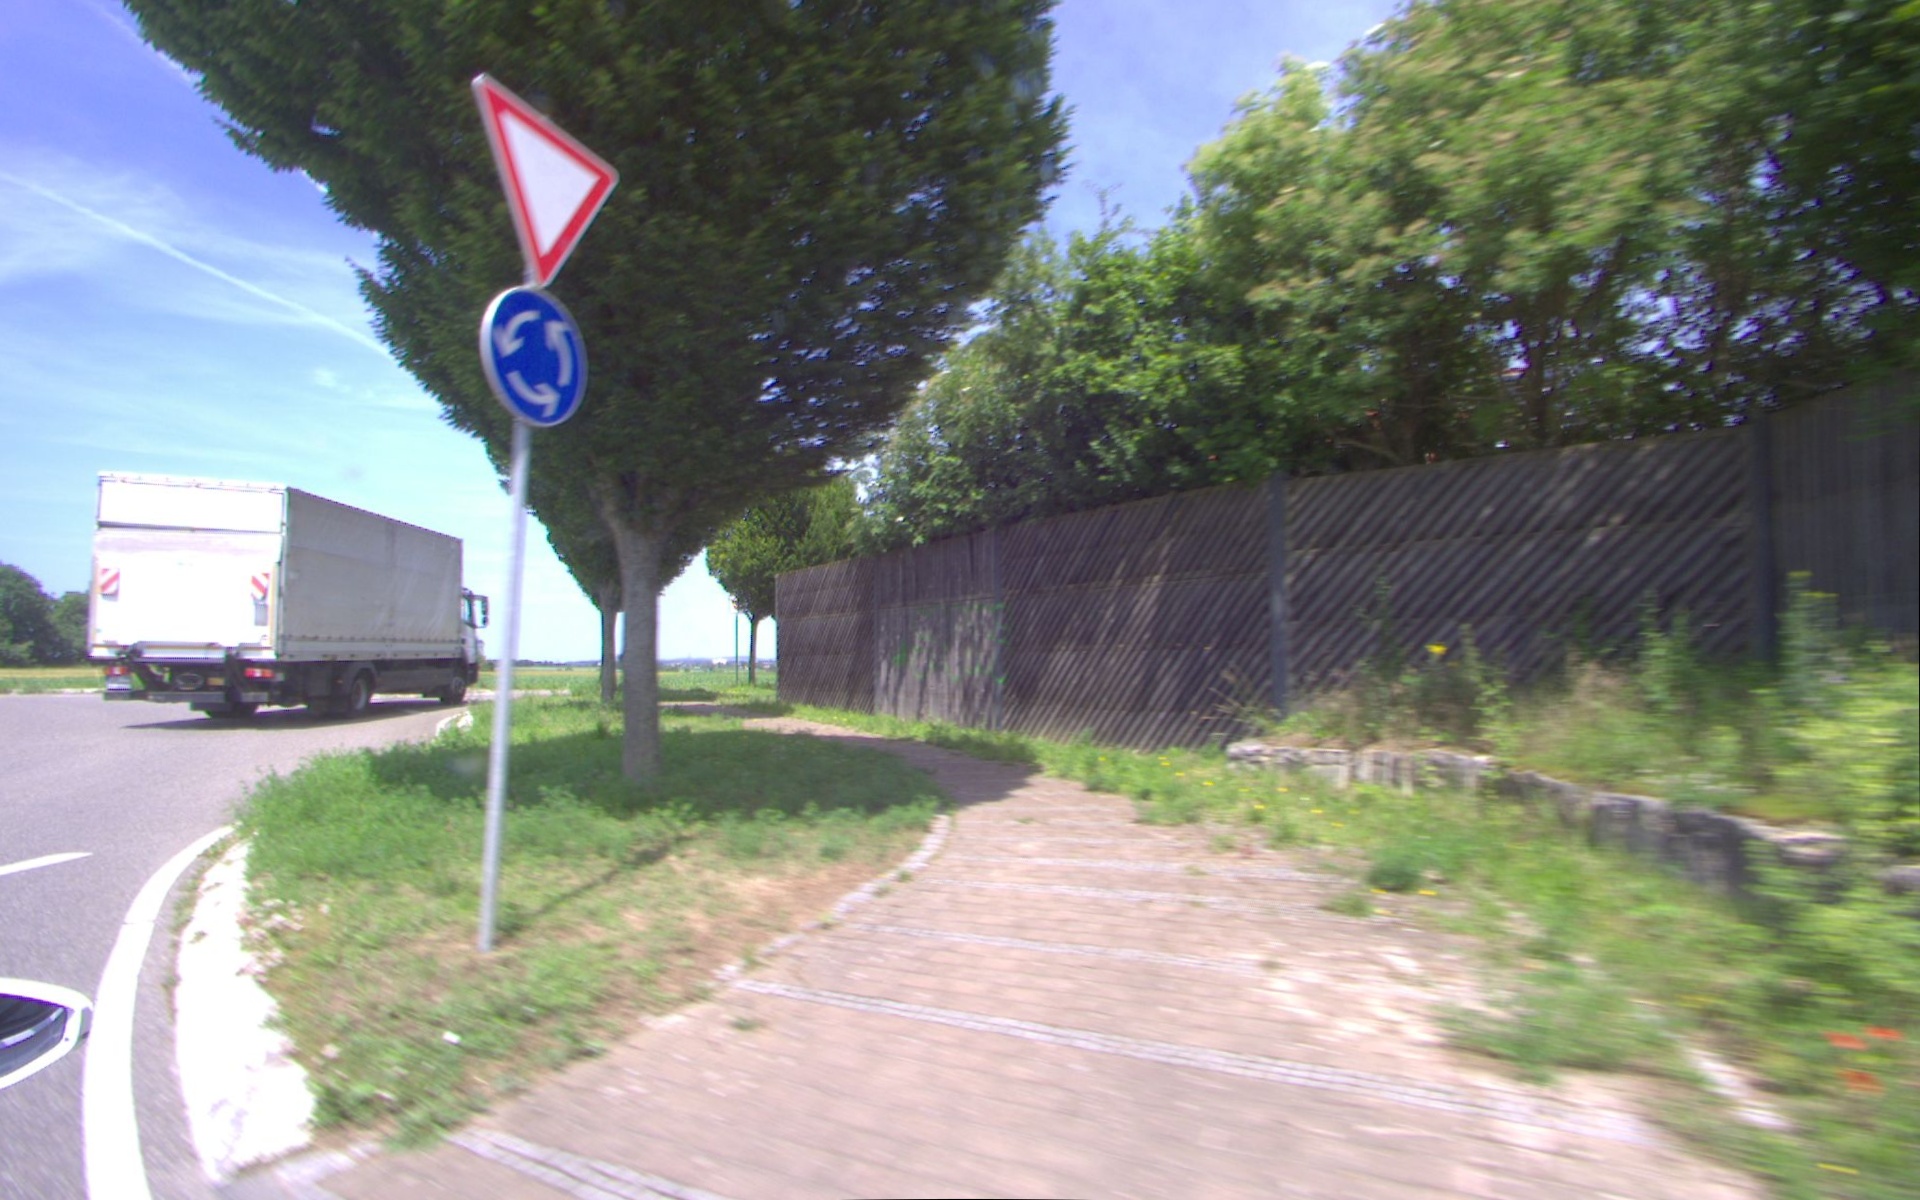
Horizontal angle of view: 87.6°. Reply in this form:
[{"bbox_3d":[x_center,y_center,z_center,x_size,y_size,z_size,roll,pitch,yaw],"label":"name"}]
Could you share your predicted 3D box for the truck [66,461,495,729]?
[{"bbox_3d":[-11.852,0.098,19.012,2.723,3.717,9.382,2,-2,-8],"label":"truck"}]
